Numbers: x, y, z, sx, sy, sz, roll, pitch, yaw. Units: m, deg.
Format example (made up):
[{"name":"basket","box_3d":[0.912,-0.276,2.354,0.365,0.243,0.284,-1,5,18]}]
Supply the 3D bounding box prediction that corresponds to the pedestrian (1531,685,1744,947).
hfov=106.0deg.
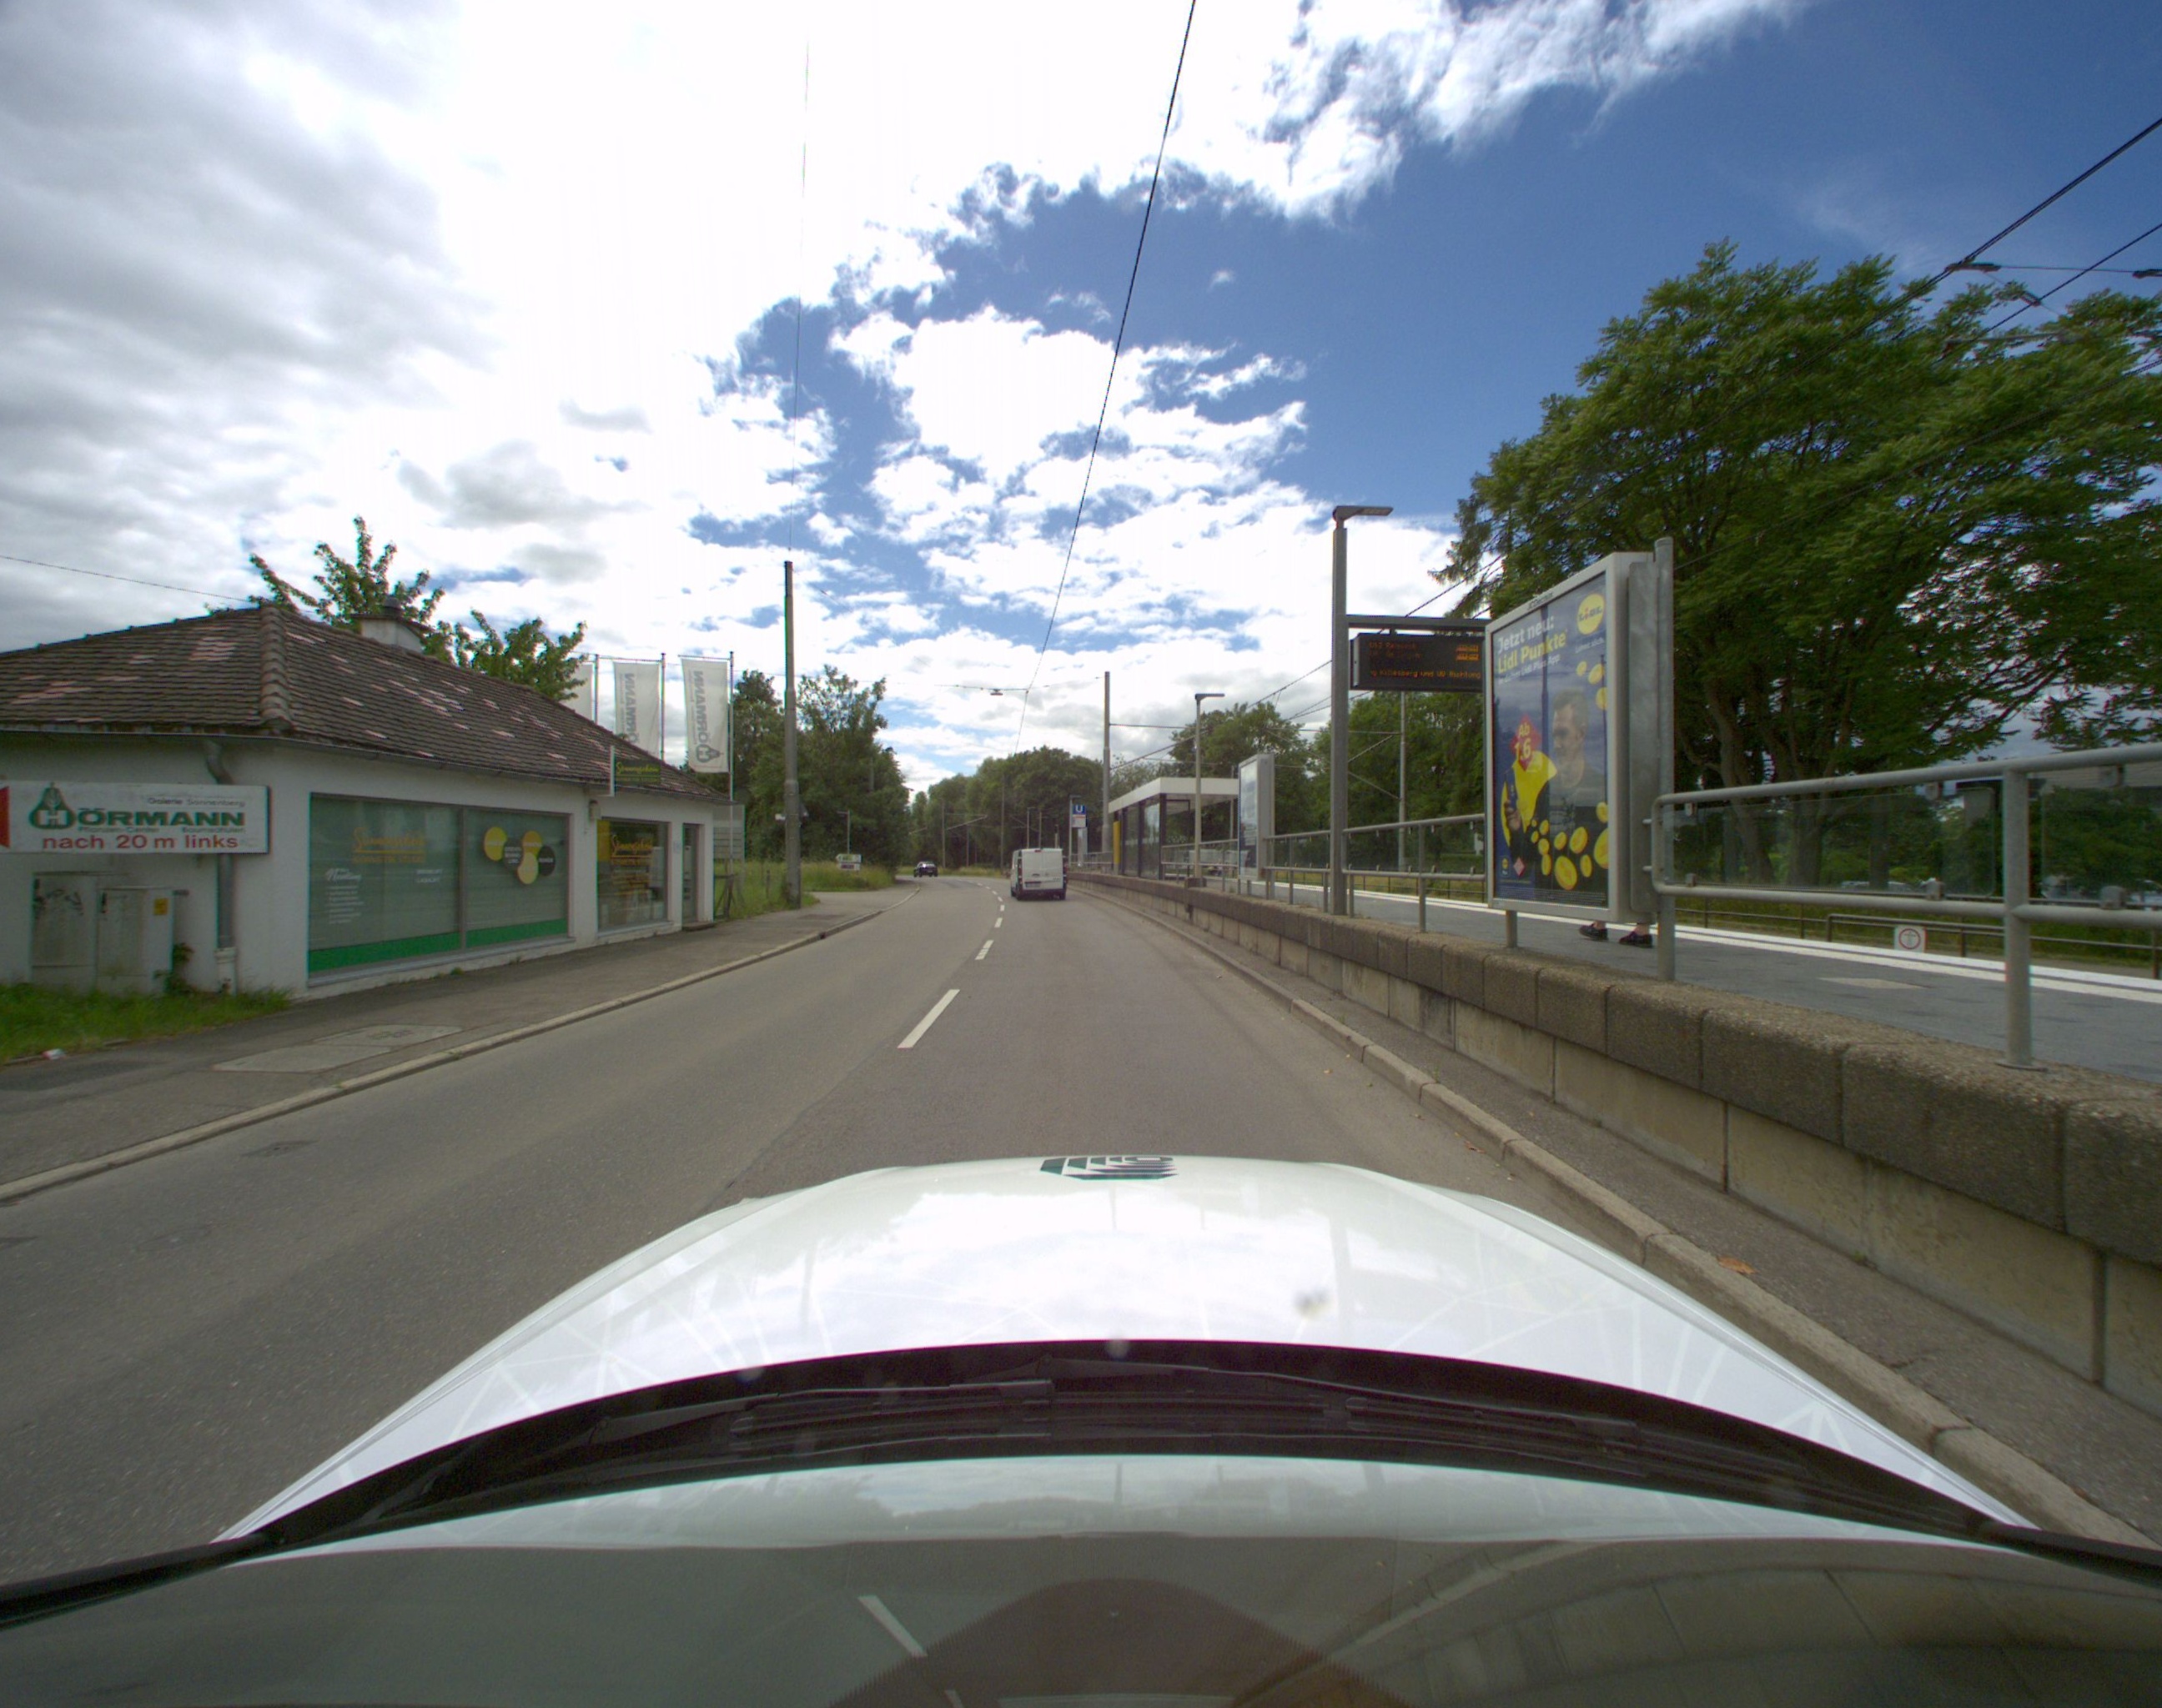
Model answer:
[{"name":"pedestrian","box_3d":[3.800,-0.243,5.654,0.882,1.671,0.910,0,-1,3]}]

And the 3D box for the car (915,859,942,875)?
[{"name":"car","box_3d":[-16.197,1.356,86.512,2.360,1.564,4.348,2,-1,-16]}]

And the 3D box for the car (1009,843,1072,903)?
[{"name":"car","box_3d":[-1.697,0.685,32.221,2.114,2.134,5.429,1,0,-6]}]

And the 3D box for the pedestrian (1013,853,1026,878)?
[{"name":"pedestrian","box_3d":[-4.545,0.852,60.171,0.763,1.795,0.624,0,-1,-32]}]

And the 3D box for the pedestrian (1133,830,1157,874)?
[{"name":"pedestrian","box_3d":[2.073,-0.061,26.349,0.637,1.404,0.763,0,1,-6]}]

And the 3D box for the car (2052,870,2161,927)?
[{"name":"car","box_3d":[36.762,1.513,28.424,1.741,1.844,4.524,1,-1,21]}]

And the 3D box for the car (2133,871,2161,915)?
[{"name":"car","box_3d":[41.745,1.499,29.958,1.800,1.636,4.264,0,0,22]}]
